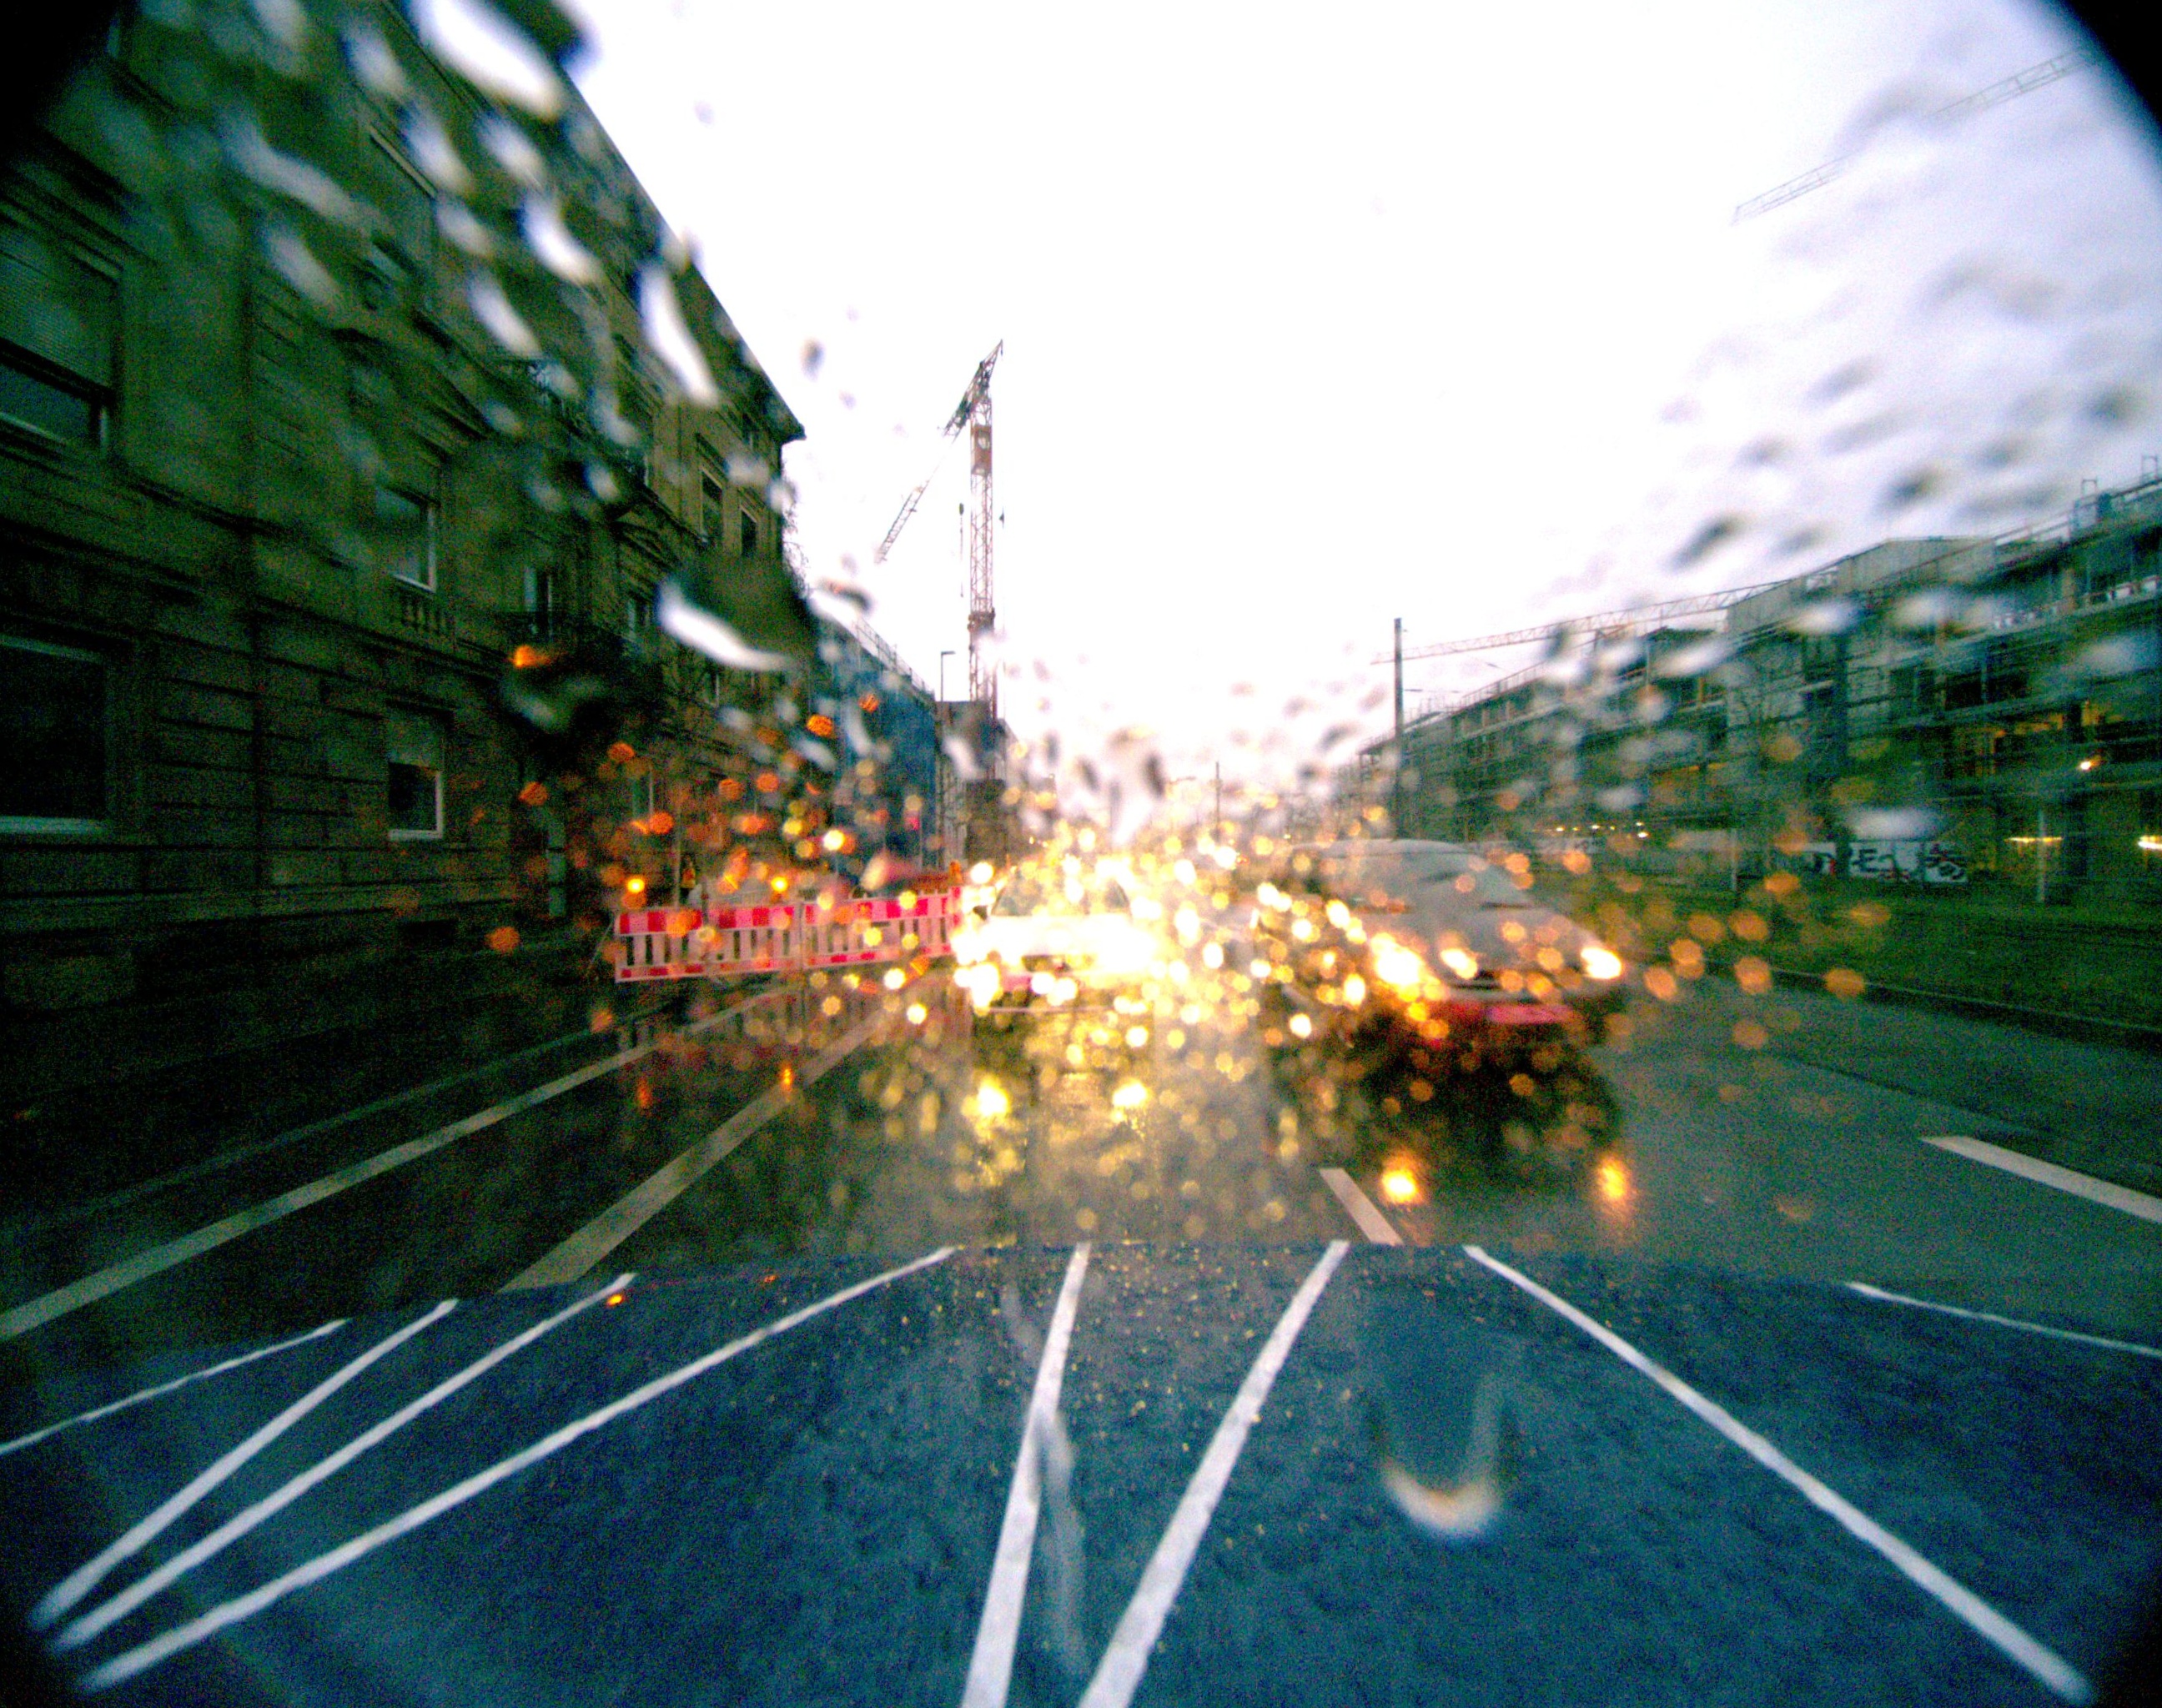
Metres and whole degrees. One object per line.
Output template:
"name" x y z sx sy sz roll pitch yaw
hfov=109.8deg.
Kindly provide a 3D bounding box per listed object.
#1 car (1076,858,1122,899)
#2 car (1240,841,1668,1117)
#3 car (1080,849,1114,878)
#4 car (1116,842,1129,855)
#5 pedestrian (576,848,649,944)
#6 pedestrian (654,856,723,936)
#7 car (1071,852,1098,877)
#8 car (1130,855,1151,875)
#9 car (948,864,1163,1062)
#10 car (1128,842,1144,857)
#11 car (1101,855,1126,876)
"car" 0.691 0.973 31.890 1.769 1.504 3.899 -2 1 0
"car" 2.674 0.759 6.640 1.815 1.636 4.135 -1 0 2
"car" 0.887 0.495 43.020 1.769 1.504 3.899 -2 1 0
"car" 5.849 -0.791 106.129 1.768 1.614 3.900 -2 1 4
"pedestrian" -8.409 0.733 13.661 0.870 1.663 0.707 0 1 5
"pedestrian" -7.780 0.800 15.086 0.870 1.536 0.929 0 1 1
"car" 0.230 0.676 52.170 1.769 1.504 3.899 -2 1 0
"car" 5.327 0.934 68.670 1.768 1.614 3.900 -2 1 4
"car" -0.225 0.954 8.416 1.769 1.504 3.899 -2 1 0
"car" 6.254 -0.489 86.434 1.768 1.614 3.900 -2 1 4
"car" 2.579 0.906 61.186 1.769 1.504 3.899 -2 1 0
